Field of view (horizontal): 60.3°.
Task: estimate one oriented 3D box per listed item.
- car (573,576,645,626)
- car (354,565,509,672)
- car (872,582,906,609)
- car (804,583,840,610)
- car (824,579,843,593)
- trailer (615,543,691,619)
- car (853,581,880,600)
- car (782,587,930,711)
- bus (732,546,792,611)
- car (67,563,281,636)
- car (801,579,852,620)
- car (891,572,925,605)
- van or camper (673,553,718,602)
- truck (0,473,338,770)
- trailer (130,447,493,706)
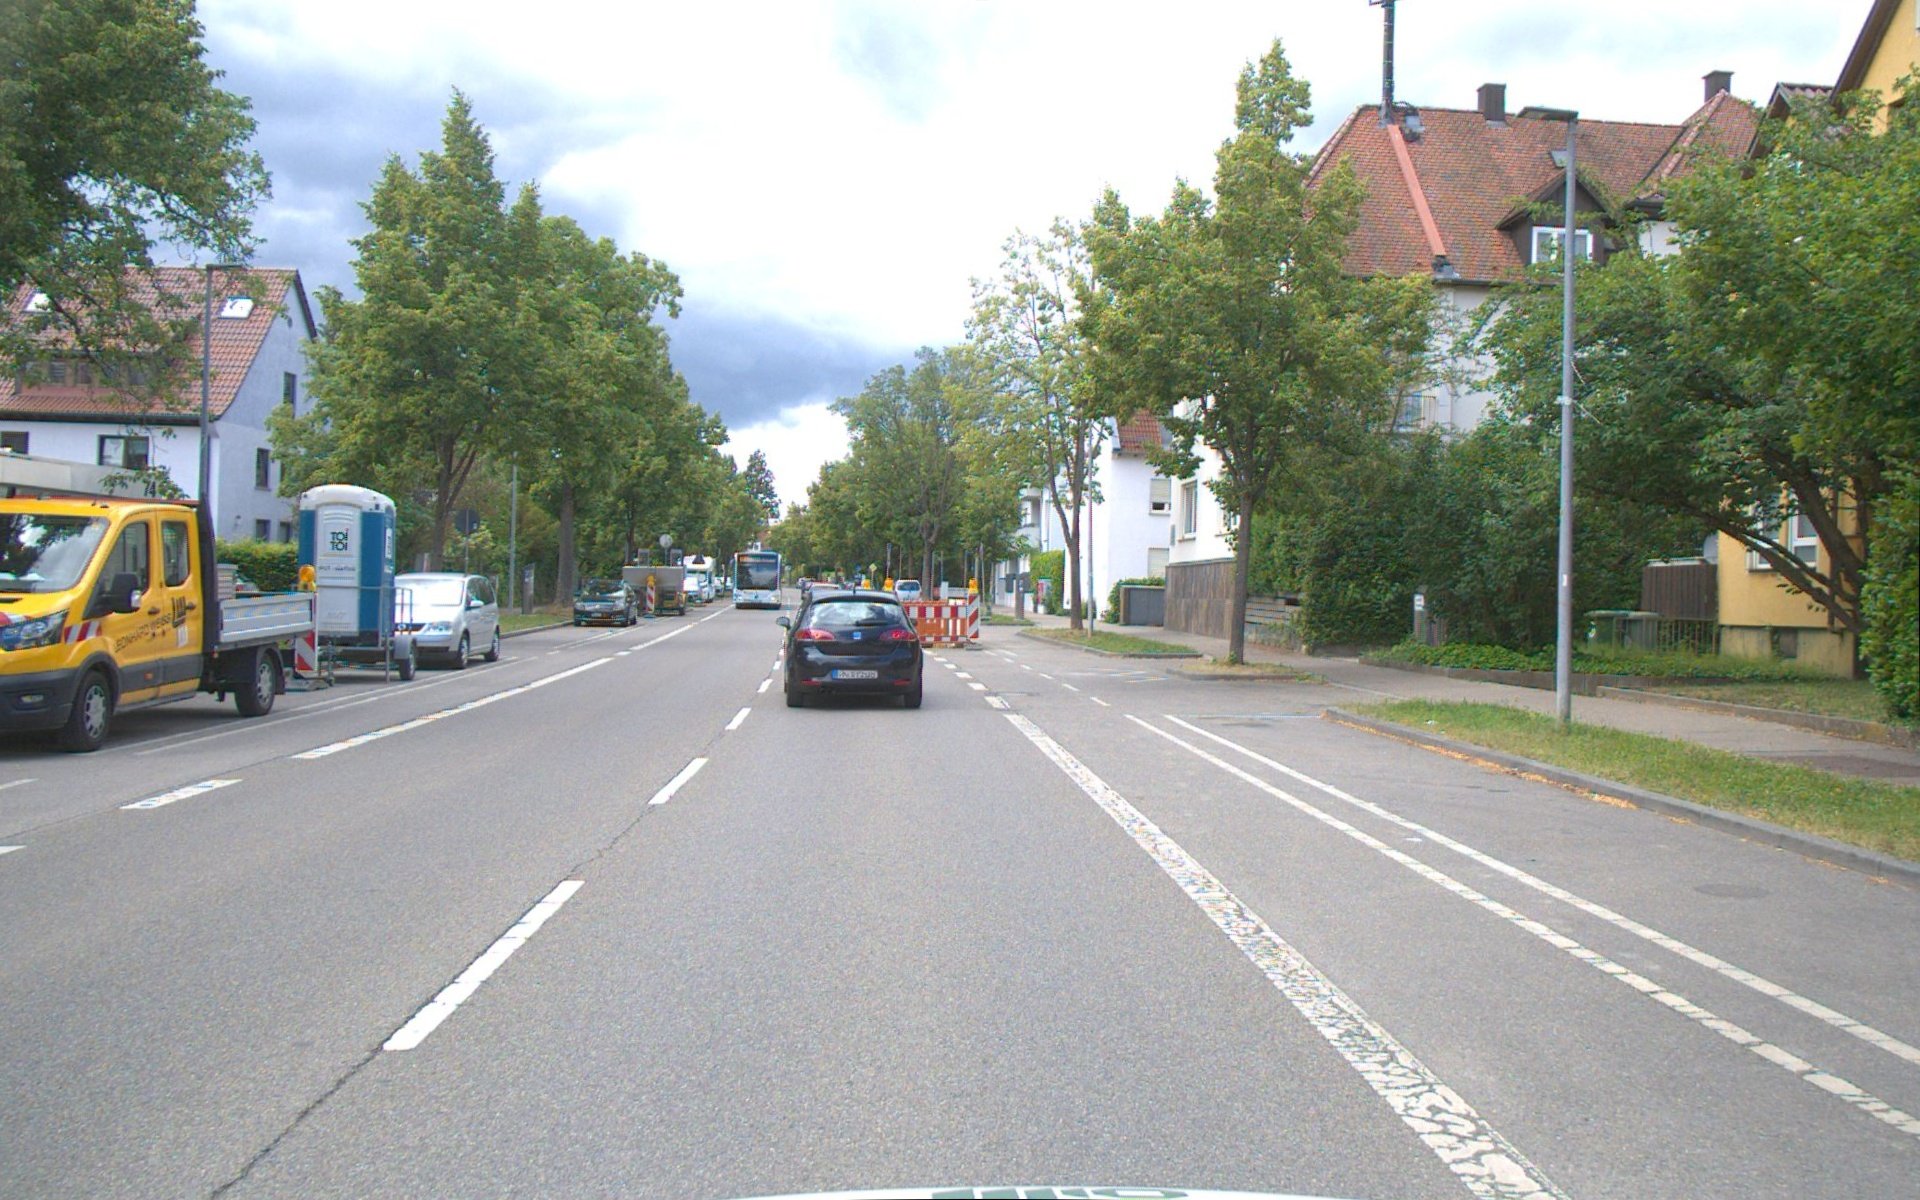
[{"bbox_3d":[-11.721,0.072,55.495,1.824,1.580,4.614,1,-1,-6],"label":"car"},{"bbox_3d":[-9.225,0.310,29.195,1.656,1.713,4.221,1,0,-5],"label":"car"},{"bbox_3d":[-4.106,-0.293,95.083,1.655,1.519,4.221,0,0,-6],"label":"car"},{"bbox_3d":[-8.375,-0.231,100.255,1.956,1.556,3.993,1,1,-8],"label":"car"},{"bbox_3d":[-14.391,-1.586,187.611,1.653,1.457,4.033,1,1,-11],"label":"car"},{"bbox_3d":[-12.993,-0.759,70.421,2.623,2.992,7.464,1,0,-7],"label":"trailer"},{"bbox_3d":[-7.531,-0.783,132.798,1.982,1.468,5.019,1,1,-6],"label":"car"},{"bbox_3d":[-1.405,0.581,21.650,1.748,1.474,3.554,1,0,-5],"label":"car"},{"bbox_3d":[-11.382,-1.112,96.357,2.750,3.346,18.026,1,0,-5],"label":"bus"},{"bbox_3d":[-17.943,-0.031,37.854,3.995,1.458,1.801,2,1,2],"label":"car"},{"bbox_3d":[-5.373,-0.046,66.913,1.954,1.585,3.997,1,0,-4],"label":"car"},{"bbox_3d":[-2.841,-0.623,89.403,1.601,1.694,3.643,1,1,-6],"label":"car"},{"bbox_3d":[-17.180,-1.444,107.697,2.388,3.062,7.683,1,1,-6],"label":"van or camper"},{"bbox_3d":[-8.400,0.132,16.177,2.248,2.327,6.462,1,0,-1],"label":"truck"},{"bbox_3d":[-8.590,-0.301,22.897,2.324,3.015,7.009,1,0,-1],"label":"trailer"}]
